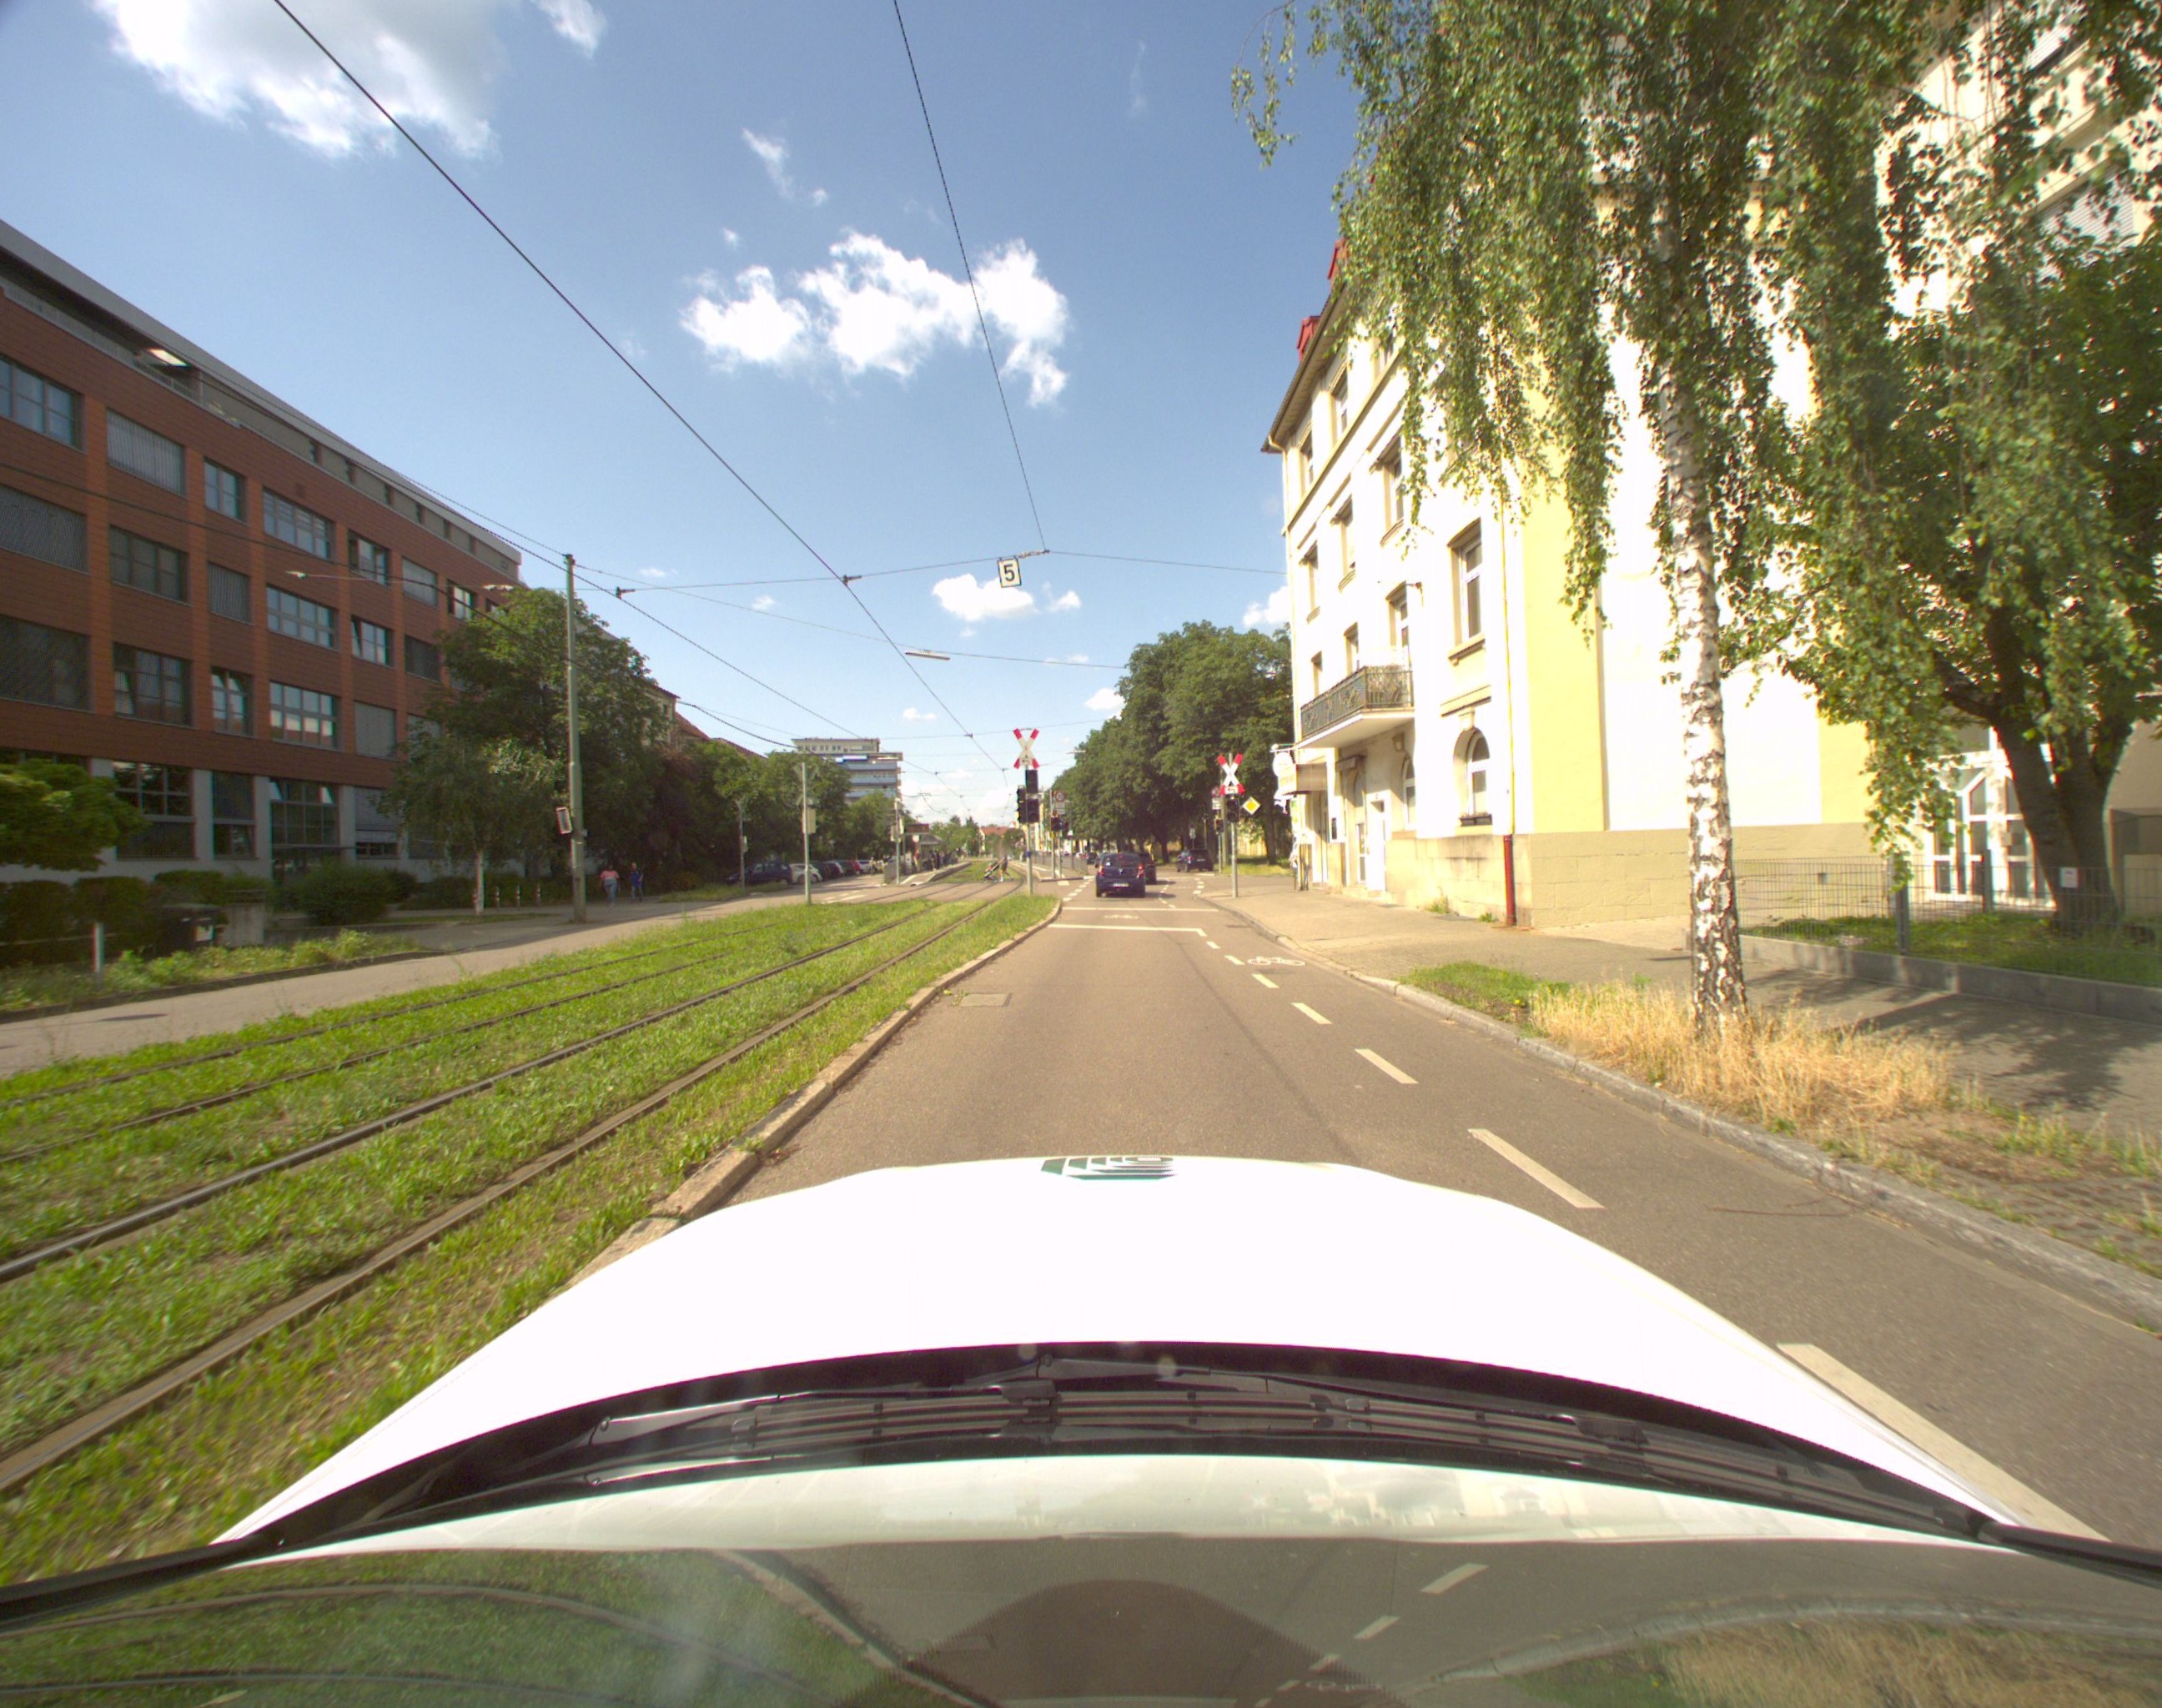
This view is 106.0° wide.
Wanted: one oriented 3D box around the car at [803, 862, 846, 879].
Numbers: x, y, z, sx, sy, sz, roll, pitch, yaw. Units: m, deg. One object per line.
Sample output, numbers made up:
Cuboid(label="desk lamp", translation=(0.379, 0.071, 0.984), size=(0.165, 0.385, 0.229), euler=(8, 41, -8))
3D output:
Cuboid(label="car", translation=(-22.023, 1.426, 70.037), size=(1.437, 1.309, 3.268), euler=(-2, 0, 36))

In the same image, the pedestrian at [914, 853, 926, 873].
Cuboid(label="pedestrian", translation=(-12.695, 0.719, 64.272), size=(0.661, 1.569, 0.686), euler=(-3, 0, 2))

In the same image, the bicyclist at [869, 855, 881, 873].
Cuboid(label="bicyclist", translation=(-19.105, 0.940, 75.530), size=(0.783, 1.582, 0.863), euler=(-3, 0, -3))

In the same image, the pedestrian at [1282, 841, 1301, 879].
Cuboid(label="pedestrian", translation=(9.499, 0.261, 36.731), size=(0.666, 1.648, 0.768), euler=(-3, -1, 22))

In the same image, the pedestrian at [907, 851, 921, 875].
Cuboid(label="pedestrian", translation=(-12.163, 0.632, 59.233), size=(0.705, 1.726, 0.672), euler=(-2, 0, 36))

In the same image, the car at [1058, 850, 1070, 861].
Cuboid(label="car", translation=(-2.760, 0.237, 133.484), size=(1.824, 1.761, 3.999), euler=(-2, 0, 0))

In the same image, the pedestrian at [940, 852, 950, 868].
Cuboid(label="pedestrian", translation=(-12.803, 0.549, 76.572), size=(0.648, 1.426, 0.566), euler=(-3, 0, 31))

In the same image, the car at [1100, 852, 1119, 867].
Cuboid(label="car", translation=(3.021, 0.542, 88.318), size=(1.846, 1.515, 3.999), euler=(-2, 0, 0))

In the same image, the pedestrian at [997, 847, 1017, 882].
Cuboid(label="pedestrian", translation=(-3.936, 0.540, 43.433), size=(0.869, 1.775, 1.002), euler=(-5, 0, -4))

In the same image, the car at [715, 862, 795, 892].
Cuboid(label="car", translation=(-19.801, 1.379, 49.544), size=(1.704, 1.640, 4.157), euler=(-2, 0, 45))

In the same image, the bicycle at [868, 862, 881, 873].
Cuboid(label="bicycle", translation=(-19.224, 1.280, 75.686), size=(0.679, 0.971, 2.177), euler=(-3, 0, -2))

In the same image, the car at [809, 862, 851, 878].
Cuboid(label="car", translation=(-22.425, 1.448, 72.790), size=(1.437, 1.309, 3.267), euler=(-2, 0, 38))

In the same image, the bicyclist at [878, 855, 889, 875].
Cuboid(label="bicyclist", translation=(-20.153, 1.125, 83.018), size=(0.949, 2.013, 1.569), euler=(-3, 1, -13))

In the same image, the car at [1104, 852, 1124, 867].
Cuboid(label="car", translation=(3.354, 0.559, 83.601), size=(1.855, 1.445, 3.999), euler=(-4, 0, 0))

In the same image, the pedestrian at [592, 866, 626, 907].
Cuboid(label="pedestrian", translation=(-18.579, 1.265, 32.082), size=(0.742, 1.574, 0.890), euler=(-2, -2, 2))

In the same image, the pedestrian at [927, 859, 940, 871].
Cuboid(label="pedestrian", translation=(-13.022, 1.006, 71.934), size=(0.923, 0.989, 0.796), euler=(-3, -2, -4))

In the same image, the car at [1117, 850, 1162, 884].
Cuboid(label="car", translation=(2.597, 0.540, 36.866), size=(1.695, 1.368, 3.514), euler=(-3, 0, -1))

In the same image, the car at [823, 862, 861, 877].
Cuboid(label="car", translation=(-23.167, 1.488, 79.045), size=(1.437, 1.309, 3.267), euler=(-2, 0, 38))

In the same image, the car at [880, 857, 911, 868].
Cuboid(label="car", translation=(-25.915, 1.128, 114.034), size=(1.618, 1.385, 4.026), euler=(-2, 0, 39))

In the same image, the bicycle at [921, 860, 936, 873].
Cuboid(label="bicycle", translation=(-11.950, 0.974, 63.899), size=(0.683, 0.974, 1.773), euler=(-4, 0, 4))

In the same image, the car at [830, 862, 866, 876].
Cuboid(label="car", translation=(-23.547, 1.489, 82.440), size=(1.437, 1.309, 3.267), euler=(-2, 0, 38))

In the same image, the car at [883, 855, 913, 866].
Cuboid(label="car", translation=(-26.779, 0.974, 119.220), size=(4.021, 1.447, 1.708), euler=(-2, 0, -40))

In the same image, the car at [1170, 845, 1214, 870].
Cuboid(label="car", translation=(6.910, 0.214, 51.103), size=(1.763, 1.433, 3.895), euler=(-3, 0, -7))

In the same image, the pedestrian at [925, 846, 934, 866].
Cuboid(label="pedestrian", translation=(-13.148, 0.201, 70.749), size=(0.654, 1.692, 0.655), euler=(-3, 0, -5))

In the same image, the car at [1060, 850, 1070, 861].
Cuboid(label="car", translation=(-2.750, 0.225, 139.600), size=(1.663, 1.772, 3.997), euler=(-2, 0, -2))

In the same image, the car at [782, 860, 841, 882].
Cuboid(label="car", translation=(-21.150, 1.305, 63.980), size=(1.669, 1.456, 4.024), euler=(-3, 0, 44))

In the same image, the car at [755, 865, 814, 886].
Cuboid(label="car", translation=(-20.132, 1.434, 55.361), size=(1.525, 1.236, 3.409), euler=(-2, 0, 45))

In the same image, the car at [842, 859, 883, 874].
Cuboid(label="car", translation=(-23.881, 1.383, 88.975), size=(1.694, 1.367, 4.025), euler=(-3, 0, 43))

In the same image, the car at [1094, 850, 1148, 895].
Cuboid(label="car", translation=(1.394, 0.618, 28.851), size=(1.761, 1.462, 3.777), euler=(-1, 0, 2))

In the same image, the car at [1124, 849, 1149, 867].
Cuboid(label="car", translation=(4.869, 0.311, 72.214), size=(1.855, 1.445, 3.999), euler=(-4, 0, 0))

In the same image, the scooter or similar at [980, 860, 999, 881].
Cuboid(label="scooter or similar", translation=(-4.812, 0.872, 43.023), size=(0.953, 1.065, 0.795), euler=(-3, 0, -7))

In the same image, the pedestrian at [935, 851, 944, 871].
Cuboid(label="pedestrian", translation=(-13.212, 0.660, 75.950), size=(0.601, 1.766, 0.639), euler=(-2, 0, 3))

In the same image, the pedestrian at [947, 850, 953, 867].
Cuboid(label="pedestrian", translation=(-15.971, 0.585, 99.109), size=(0.661, 2.013, 0.801), euler=(-2, 0, -11))

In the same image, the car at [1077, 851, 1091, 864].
Cuboid(label="car", translation=(0.374, 0.429, 114.922), size=(1.615, 1.750, 3.993), euler=(-2, 0, -5))

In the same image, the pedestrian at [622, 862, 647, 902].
Cuboid(label="pedestrian", translation=(-18.920, 1.177, 34.524), size=(0.554, 1.657, 0.747), euler=(-2, 0, 2))

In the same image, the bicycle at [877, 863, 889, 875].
Cuboid(label="bicycle", translation=(-20.184, 1.516, 83.056), size=(1.155, 1.177, 1.780), euler=(-3, 0, -13))

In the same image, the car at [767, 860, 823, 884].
Cuboid(label="car", translation=(-20.598, 1.289, 58.698), size=(3.408, 1.505, 1.525), euler=(-2, 0, -44))
